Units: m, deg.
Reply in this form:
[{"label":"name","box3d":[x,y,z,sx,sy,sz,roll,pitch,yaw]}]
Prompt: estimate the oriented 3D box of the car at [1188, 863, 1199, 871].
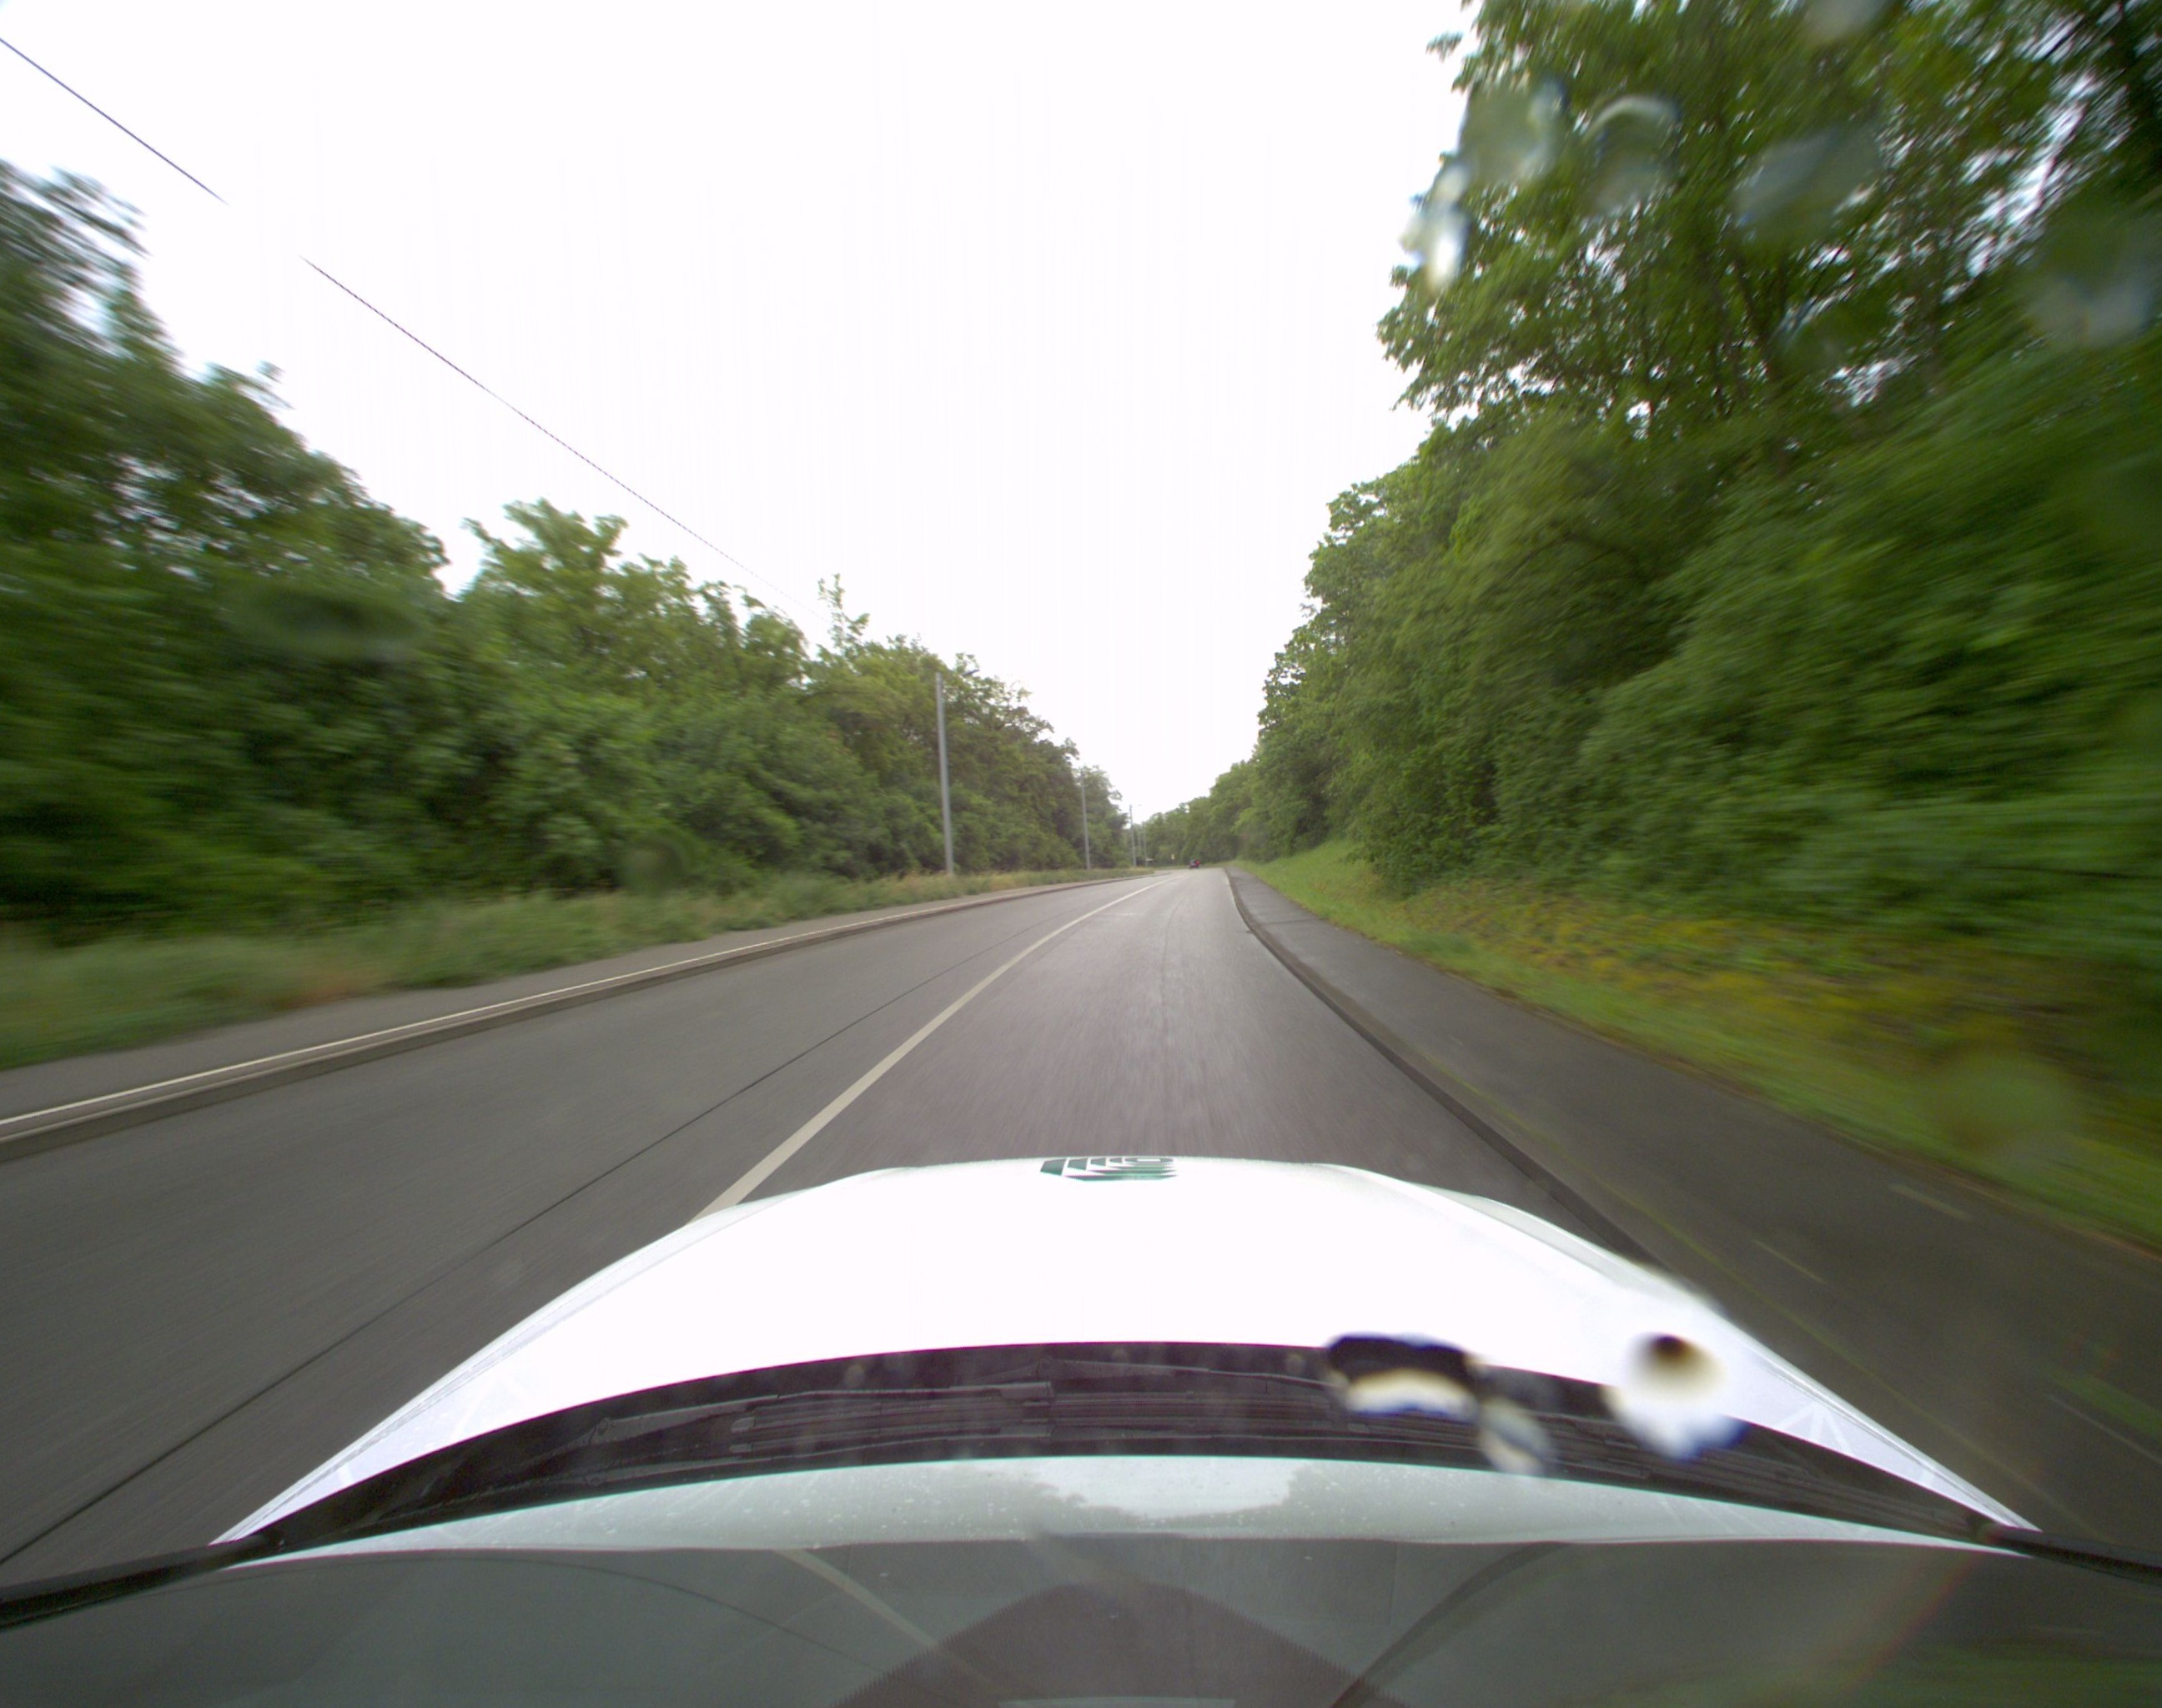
[{"label":"car","box3d":[22.241,2.574,160.741,1.860,1.596,4.002,0,-2,2]}]
